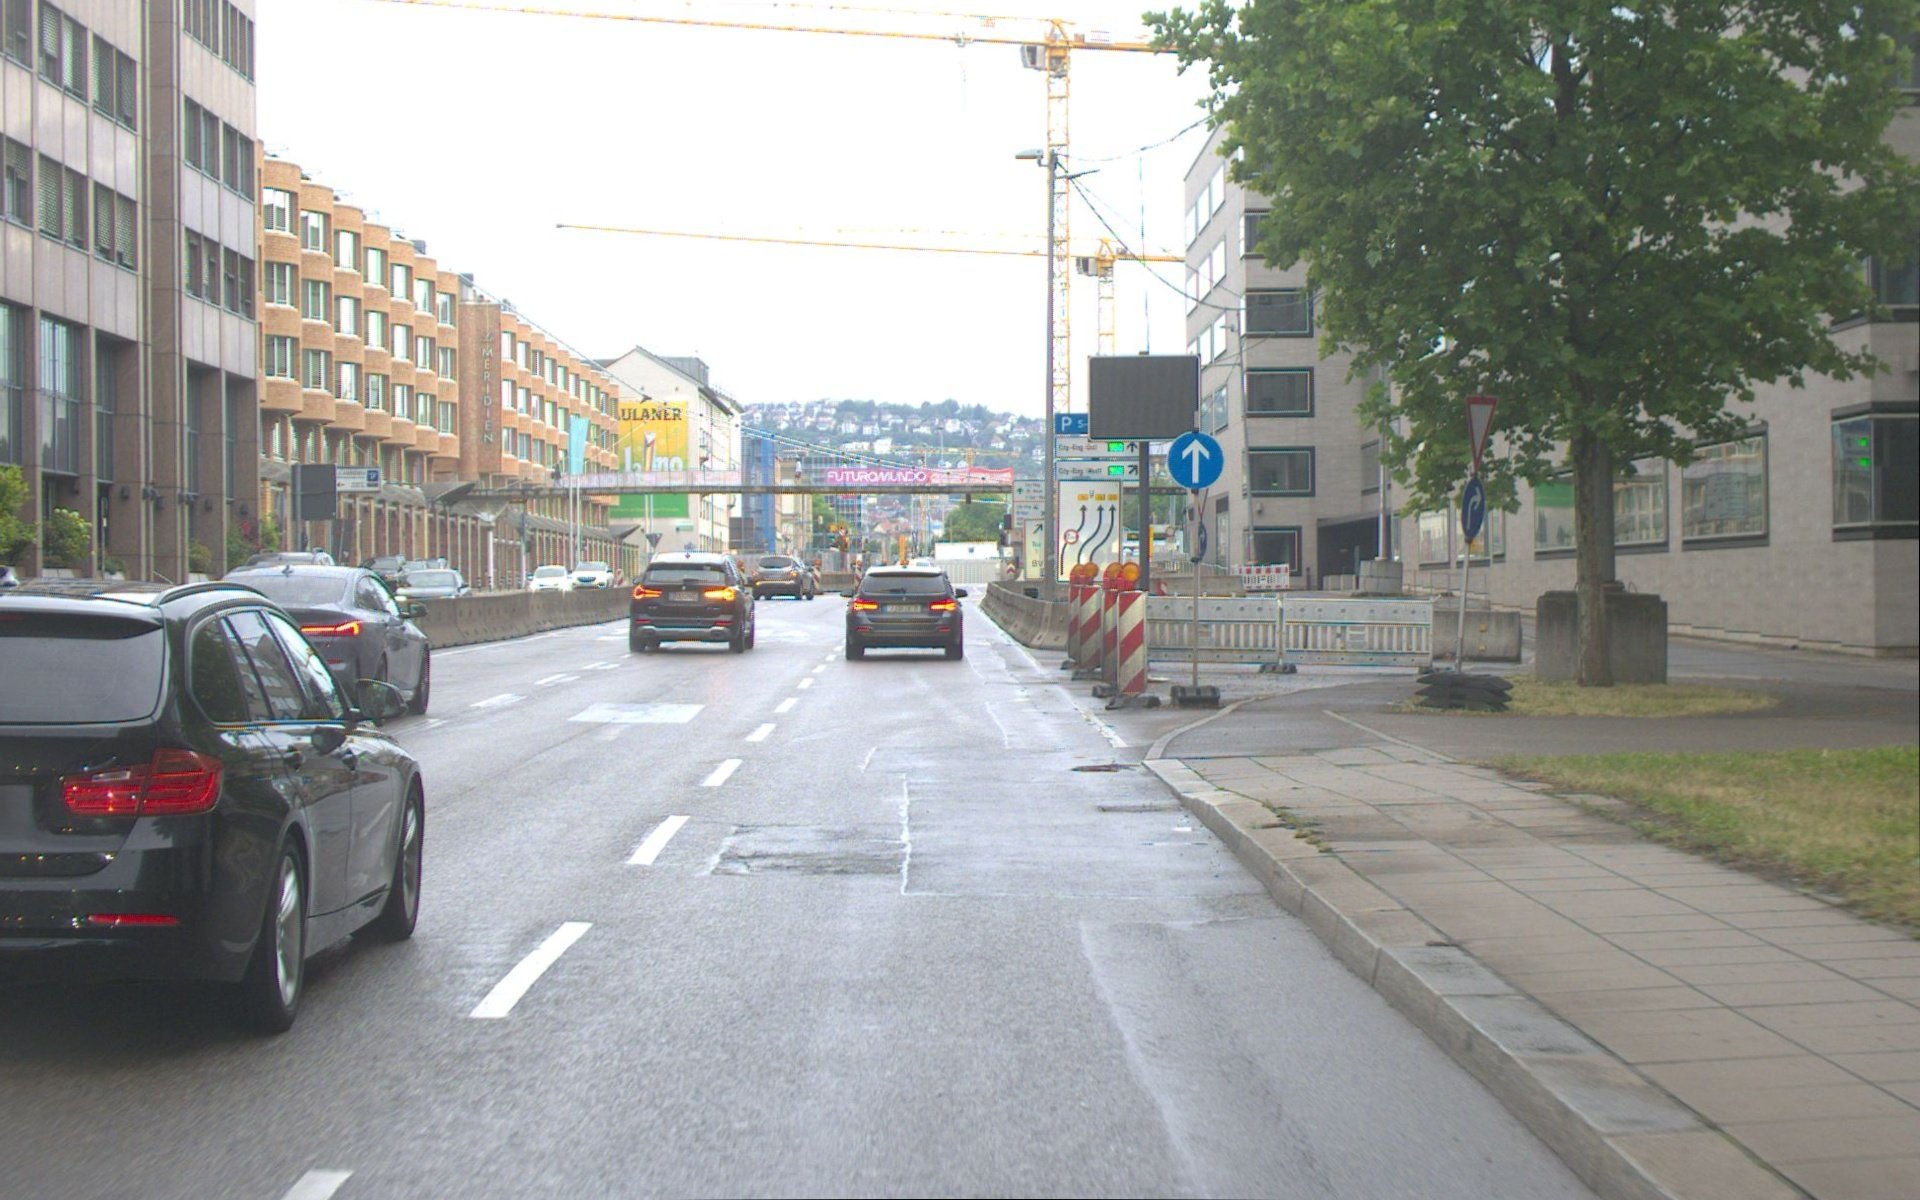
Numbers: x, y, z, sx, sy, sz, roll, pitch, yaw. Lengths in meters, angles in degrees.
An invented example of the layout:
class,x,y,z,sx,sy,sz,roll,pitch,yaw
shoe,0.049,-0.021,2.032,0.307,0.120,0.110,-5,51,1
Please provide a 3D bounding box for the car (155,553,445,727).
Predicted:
class,x,y,z,sx,sy,sz,roll,pitch,yaw
car,-5.952,0.308,31.482,1.790,1.421,4.385,-1,1,0

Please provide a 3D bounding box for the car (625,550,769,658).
class,x,y,z,sx,sy,sz,roll,pitch,yaw
car,-4.355,0.035,57.543,1.900,1.687,4.000,-1,1,3

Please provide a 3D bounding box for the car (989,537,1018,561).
class,x,y,z,sx,sy,sz,roll,pitch,yaw
car,3.151,-3.661,247.700,1.900,1.687,4.000,-1,1,3

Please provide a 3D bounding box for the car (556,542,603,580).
class,x,y,z,sx,sy,sz,roll,pitch,yaw
car,-18.113,-1.879,163.872,1.820,1.613,4.192,-1,3,-1

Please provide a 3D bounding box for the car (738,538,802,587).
class,x,y,z,sx,sy,sz,roll,pitch,yaw
car,-6.916,-1.379,125.340,1.900,1.687,4.000,-1,1,3

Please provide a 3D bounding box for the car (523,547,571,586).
class,x,y,z,sx,sy,sz,roll,pitch,yaw
car,-17.228,-1.397,143.525,1.602,1.437,3.658,-1,3,-1

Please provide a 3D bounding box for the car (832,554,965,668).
class,x,y,z,sx,sy,sz,roll,pitch,yaw
car,-0.922,0.143,53.644,1.900,1.687,4.000,0,1,1

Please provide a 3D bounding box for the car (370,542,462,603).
class,x,y,z,sx,sy,sz,roll,pitch,yaw
car,-14.348,-0.736,90.873,1.860,1.528,4.231,-1,1,-2

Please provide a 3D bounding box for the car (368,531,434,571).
class,x,y,z,sx,sy,sz,roll,pitch,yaw
car,-23.630,-2.091,145.381,1.993,1.614,4.763,-1,1,0

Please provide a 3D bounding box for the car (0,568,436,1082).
class,x,y,z,sx,sy,sz,roll,pitch,yaw
car,-2.977,0.610,11.953,1.791,1.421,4.614,0,1,-2
